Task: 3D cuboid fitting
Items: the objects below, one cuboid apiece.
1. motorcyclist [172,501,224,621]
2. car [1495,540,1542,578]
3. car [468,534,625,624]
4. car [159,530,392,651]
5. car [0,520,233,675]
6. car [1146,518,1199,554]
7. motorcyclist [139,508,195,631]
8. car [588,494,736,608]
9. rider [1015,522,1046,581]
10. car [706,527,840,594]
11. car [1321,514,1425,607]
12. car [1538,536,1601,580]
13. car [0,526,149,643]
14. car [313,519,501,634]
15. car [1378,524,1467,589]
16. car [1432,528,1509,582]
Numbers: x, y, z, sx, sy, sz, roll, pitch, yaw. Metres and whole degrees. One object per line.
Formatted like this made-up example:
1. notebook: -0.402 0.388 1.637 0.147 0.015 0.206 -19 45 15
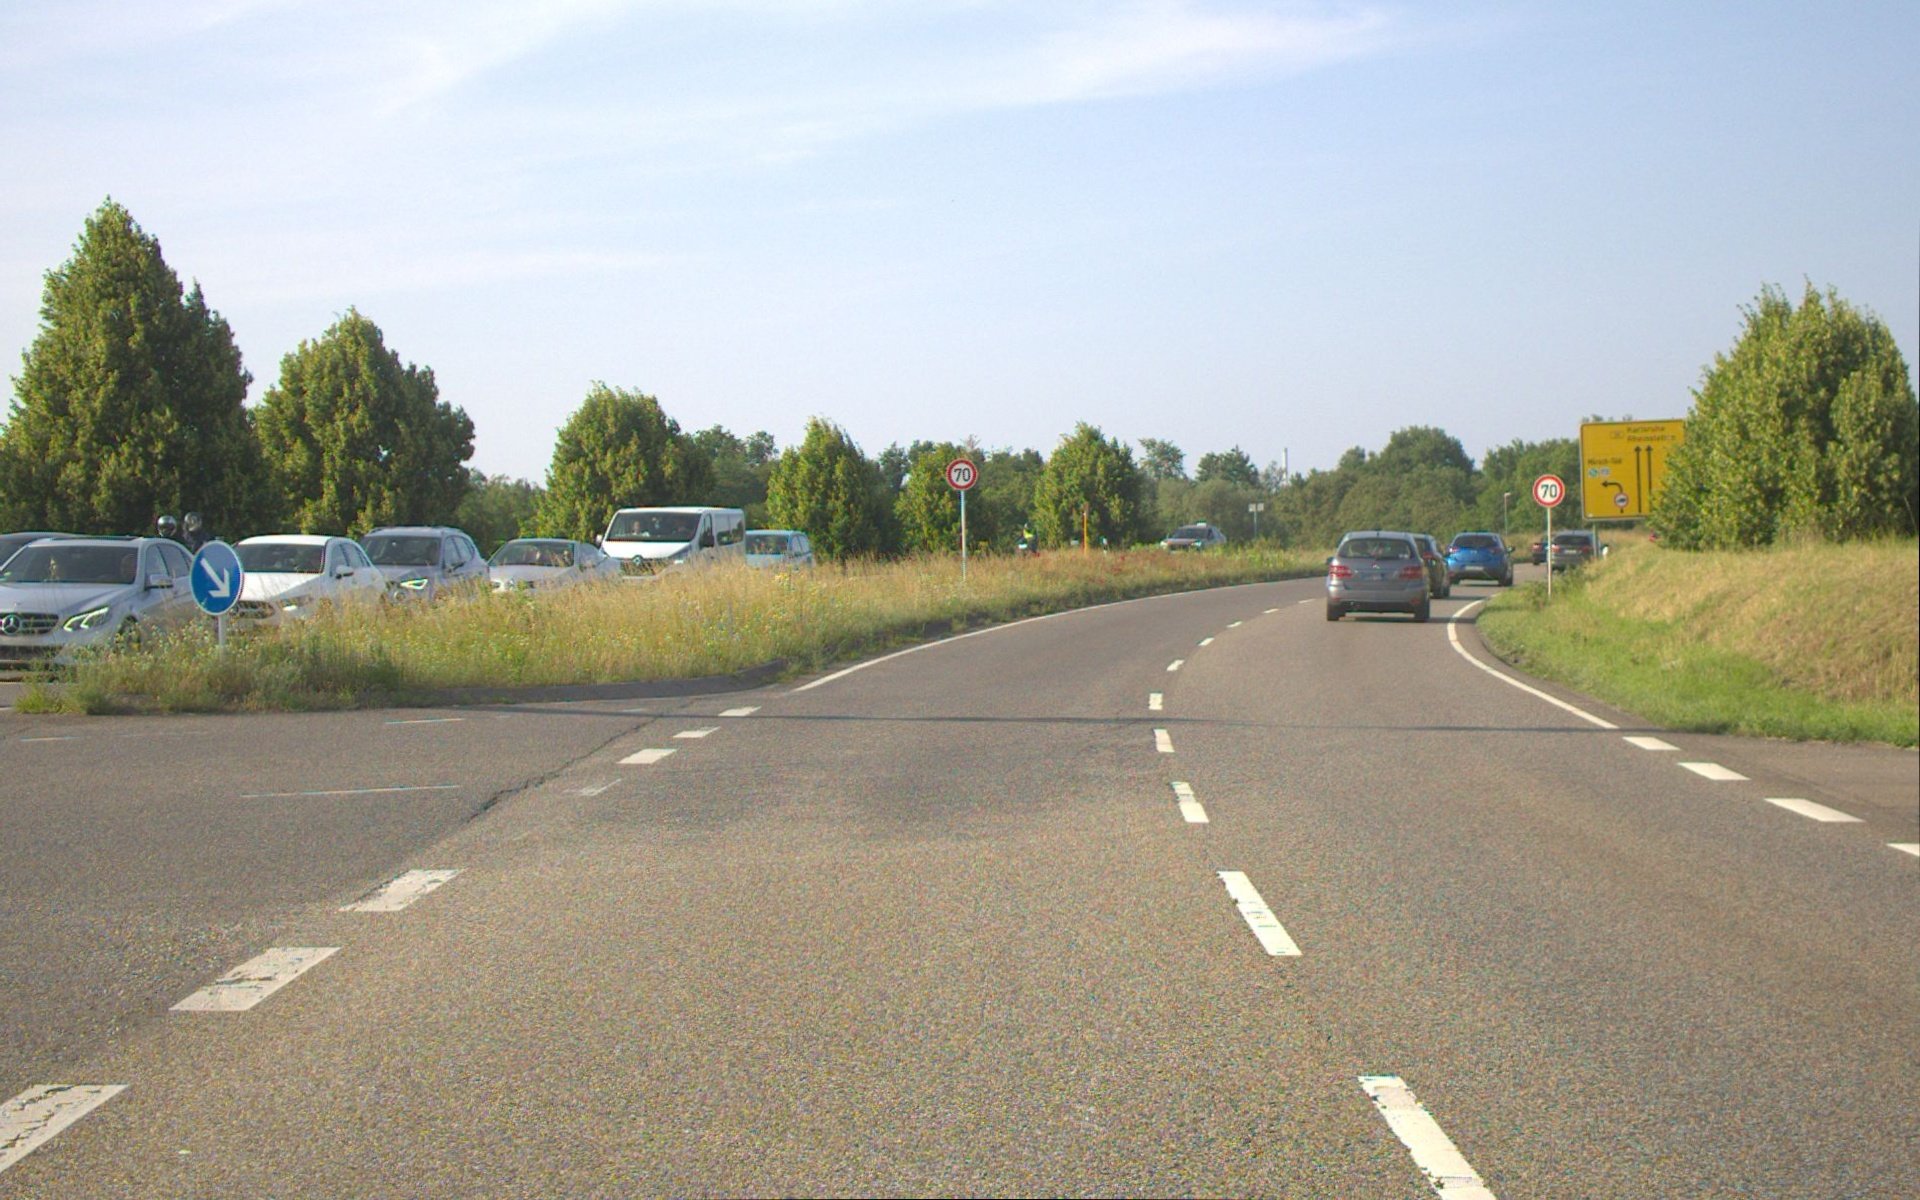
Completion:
1. motorcyclist: -11.592 -0.595 52.307 0.662 1.810 0.605 -1 1 -3
2. car: 22.256 -1.635 136.949 1.773 1.487 3.983 0 1 11
3. car: -6.652 -0.364 55.669 1.786 1.381 4.051 -1 1 4
4. car: -8.526 -0.148 43.180 1.786 1.428 4.308 -1 1 4
5. car: -9.042 -0.056 35.506 1.786 1.483 4.651 -1 1 4
6. car: 8.338 -2.508 134.576 1.406 1.397 3.420 0 1 15
7. motorcyclist: -11.341 -0.432 49.176 0.662 1.741 0.605 -1 1 -3
8. car: -5.591 -0.927 65.029 1.926 2.071 4.242 -1 1 7
9. rider: 2.405 -1.646 117.243 0.868 2.007 0.771 0 1 15
10. car: -3.978 -0.862 73.732 1.787 1.381 4.049 0 1 13
11. car: 7.454 -0.690 61.821 1.785 1.600 4.194 0 0 8
12. car: 20.665 -1.405 116.551 1.916 1.411 3.793 0 0 13
13. car: -11.965 -0.222 44.358 1.786 1.428 4.051 -1 1 4
14. car: -7.894 -0.359 49.420 1.786 1.563 4.051 -1 1 4
15. car: 11.491 -1.089 85.237 1.811 1.560 4.528 0 1 12
16. car: 14.249 -1.261 95.807 1.774 1.487 3.983 0 1 14
